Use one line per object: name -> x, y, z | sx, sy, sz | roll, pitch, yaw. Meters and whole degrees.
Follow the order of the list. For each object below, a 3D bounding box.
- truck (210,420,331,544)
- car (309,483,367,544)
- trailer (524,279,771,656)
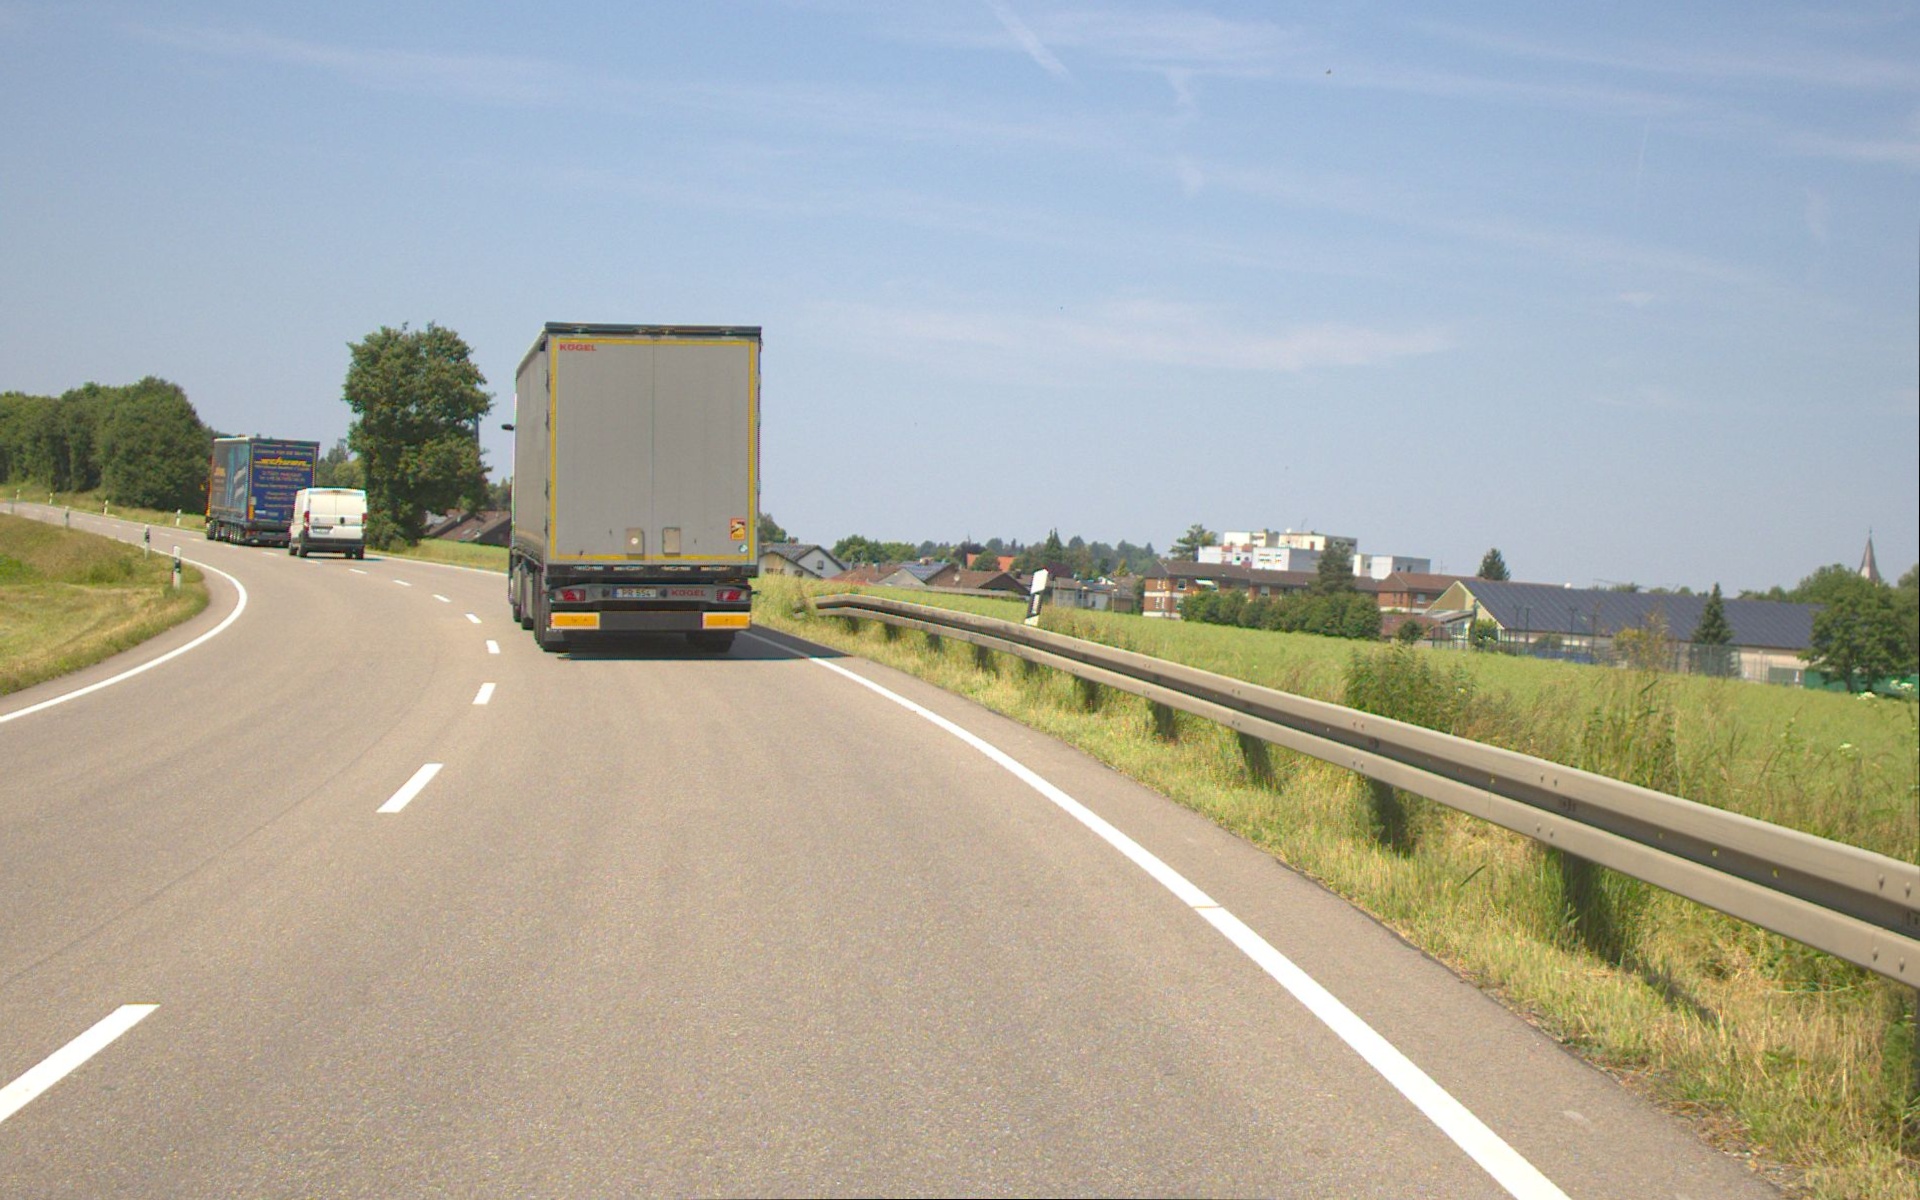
truck -> -27.144, -4.581, 134.682 | 3.548, 4.377, 18.128 | 2, 1, -14
car -> -20.065, -2.796, 110.780 | 1.725, 1.866, 4.001 | 2, 1, -11
trailer -> -4.424, -1.717, 46.941 | 2.866, 4.385, 13.496 | 0, 1, -7
